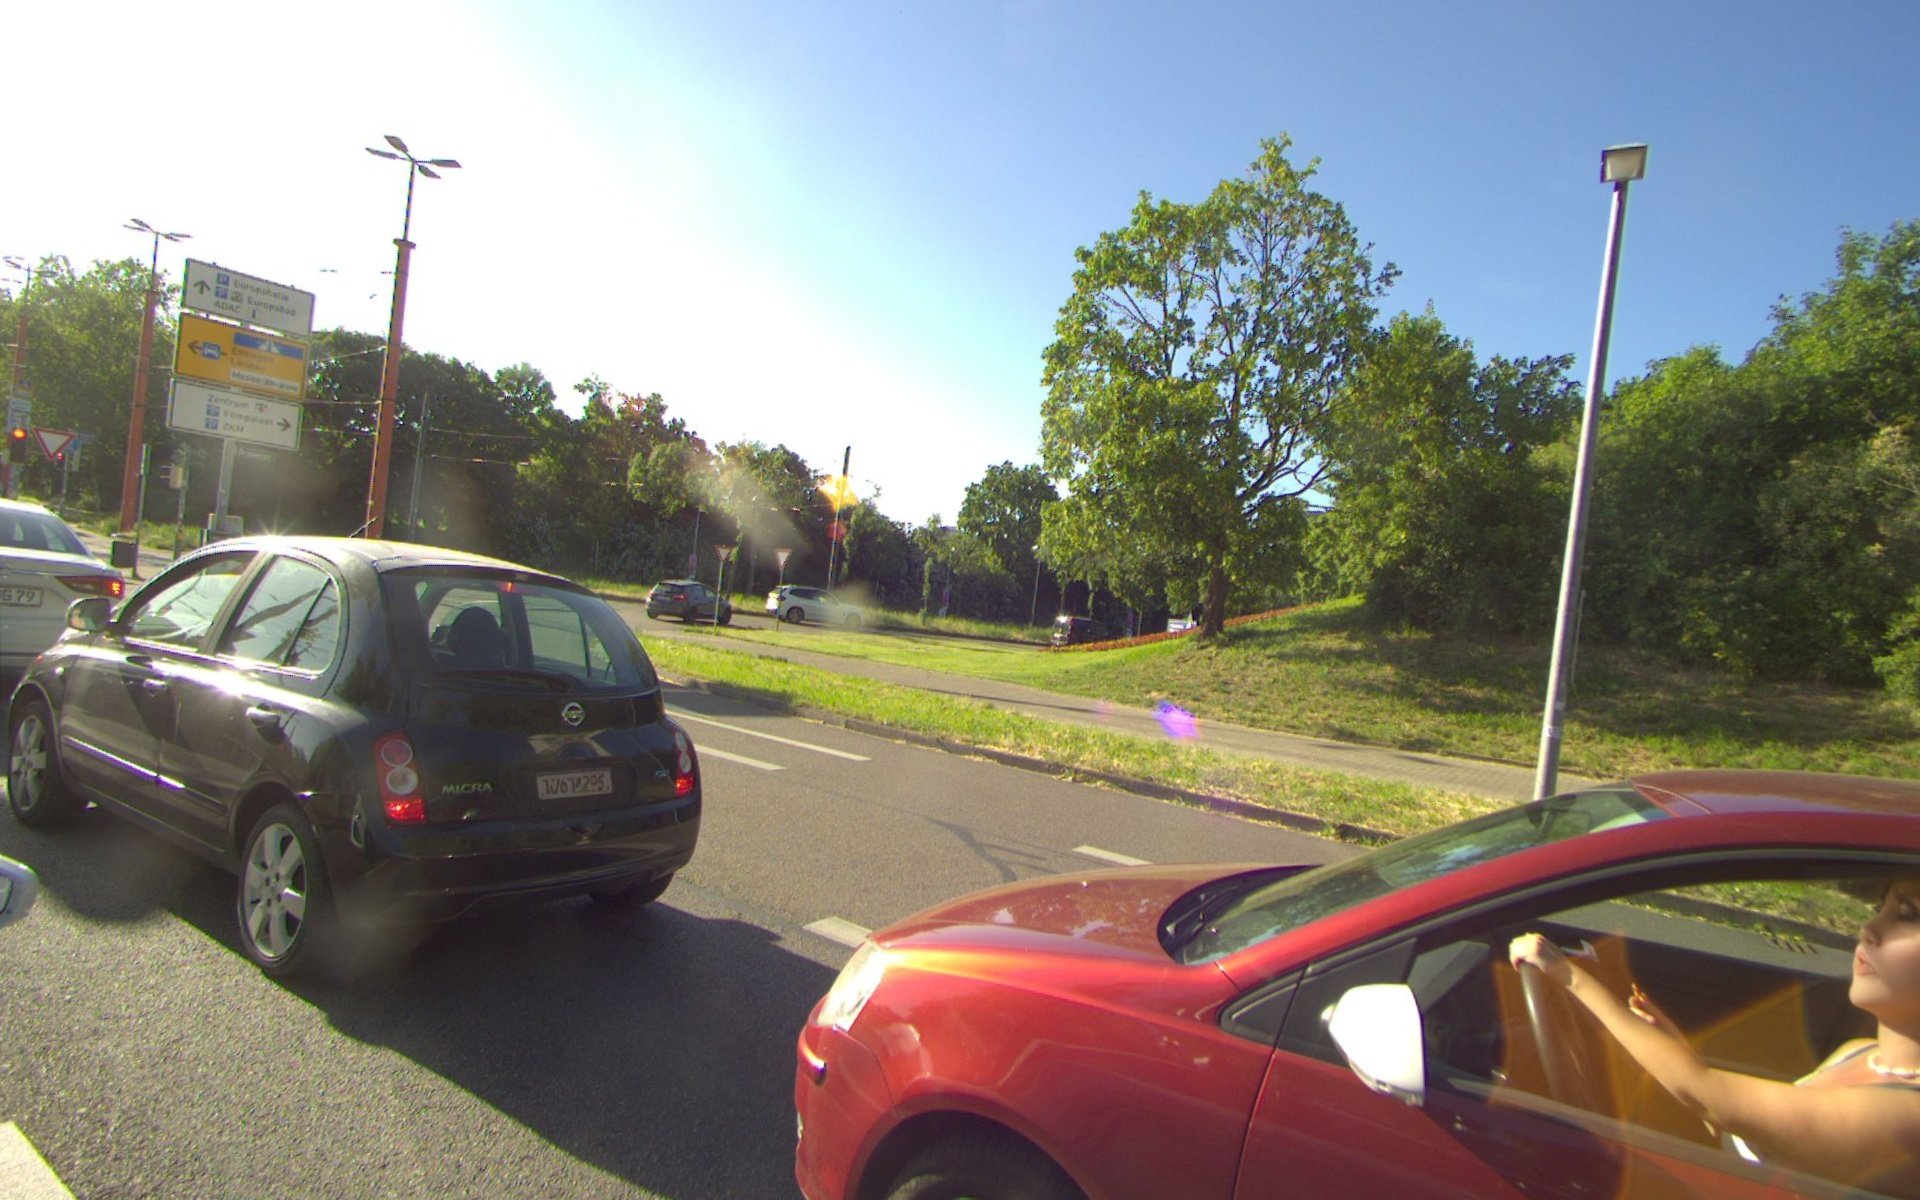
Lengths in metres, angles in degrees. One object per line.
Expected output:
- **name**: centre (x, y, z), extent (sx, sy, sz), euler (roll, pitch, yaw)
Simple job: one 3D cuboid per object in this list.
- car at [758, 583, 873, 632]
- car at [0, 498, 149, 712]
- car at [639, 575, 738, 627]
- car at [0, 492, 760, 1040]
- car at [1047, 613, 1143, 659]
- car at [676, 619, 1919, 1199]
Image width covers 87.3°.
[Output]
- **car**: centre (-6.612, 0.337, 46.255), extent (4.744, 1.617, 1.900), euler (8, -1, -30)
- **car**: centre (-8.341, -0.159, 7.974), extent (4.077, 1.472, 1.717), euler (7, -1, 33)
- **car**: centre (-9.760, 0.079, 36.459), extent (1.718, 1.486, 3.895), euler (7, -1, 13)
- **car**: centre (-2.816, 0.468, 4.620), extent (3.457, 1.524, 1.558), euler (7, 0, 32)
- **car**: centre (7.314, 1.951, 54.465), extent (4.736, 1.858, 1.903), euler (8, -1, -25)
- **car**: centre (1.376, 0.994, 1.889), extent (3.634, 1.434, 1.624), euler (7, -1, 34)
